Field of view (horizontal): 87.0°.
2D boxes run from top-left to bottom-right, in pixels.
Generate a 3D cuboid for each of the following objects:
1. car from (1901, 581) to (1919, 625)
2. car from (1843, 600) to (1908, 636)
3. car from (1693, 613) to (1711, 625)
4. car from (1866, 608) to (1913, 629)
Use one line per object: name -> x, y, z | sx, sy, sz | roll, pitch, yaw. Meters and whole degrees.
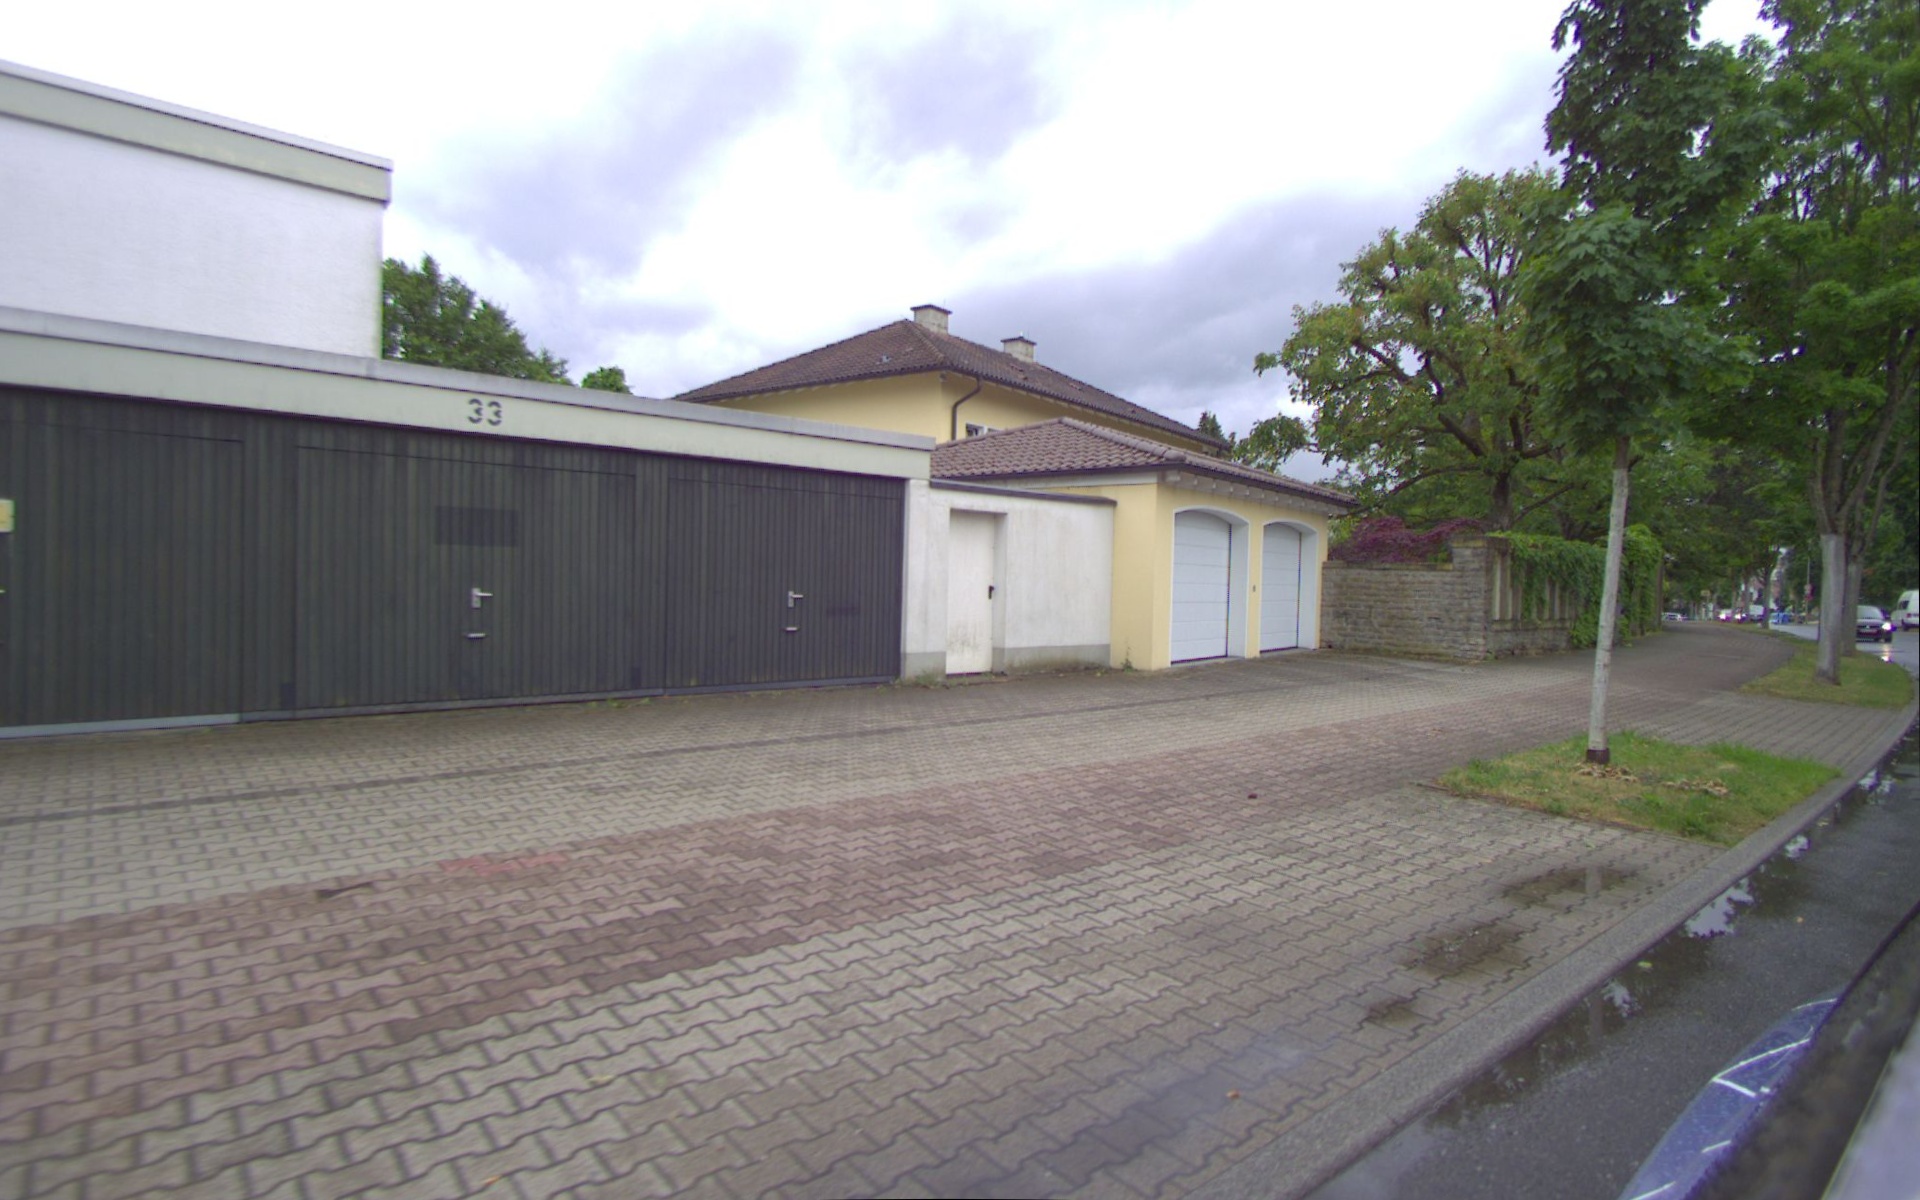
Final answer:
car -> 58.431, 0.203, 60.697 | 1.986, 2.593, 5.169 | 2, 1, 33
car -> 38.597, 0.775, 42.733 | 1.648, 1.470, 3.946 | 0, -1, 37
car -> 91.513, 2.353, 124.818 | 1.639, 1.394, 3.775 | 4, 1, 38
car -> 67.270, 1.331, 73.315 | 1.836, 1.484, 4.198 | 1, 0, 33
